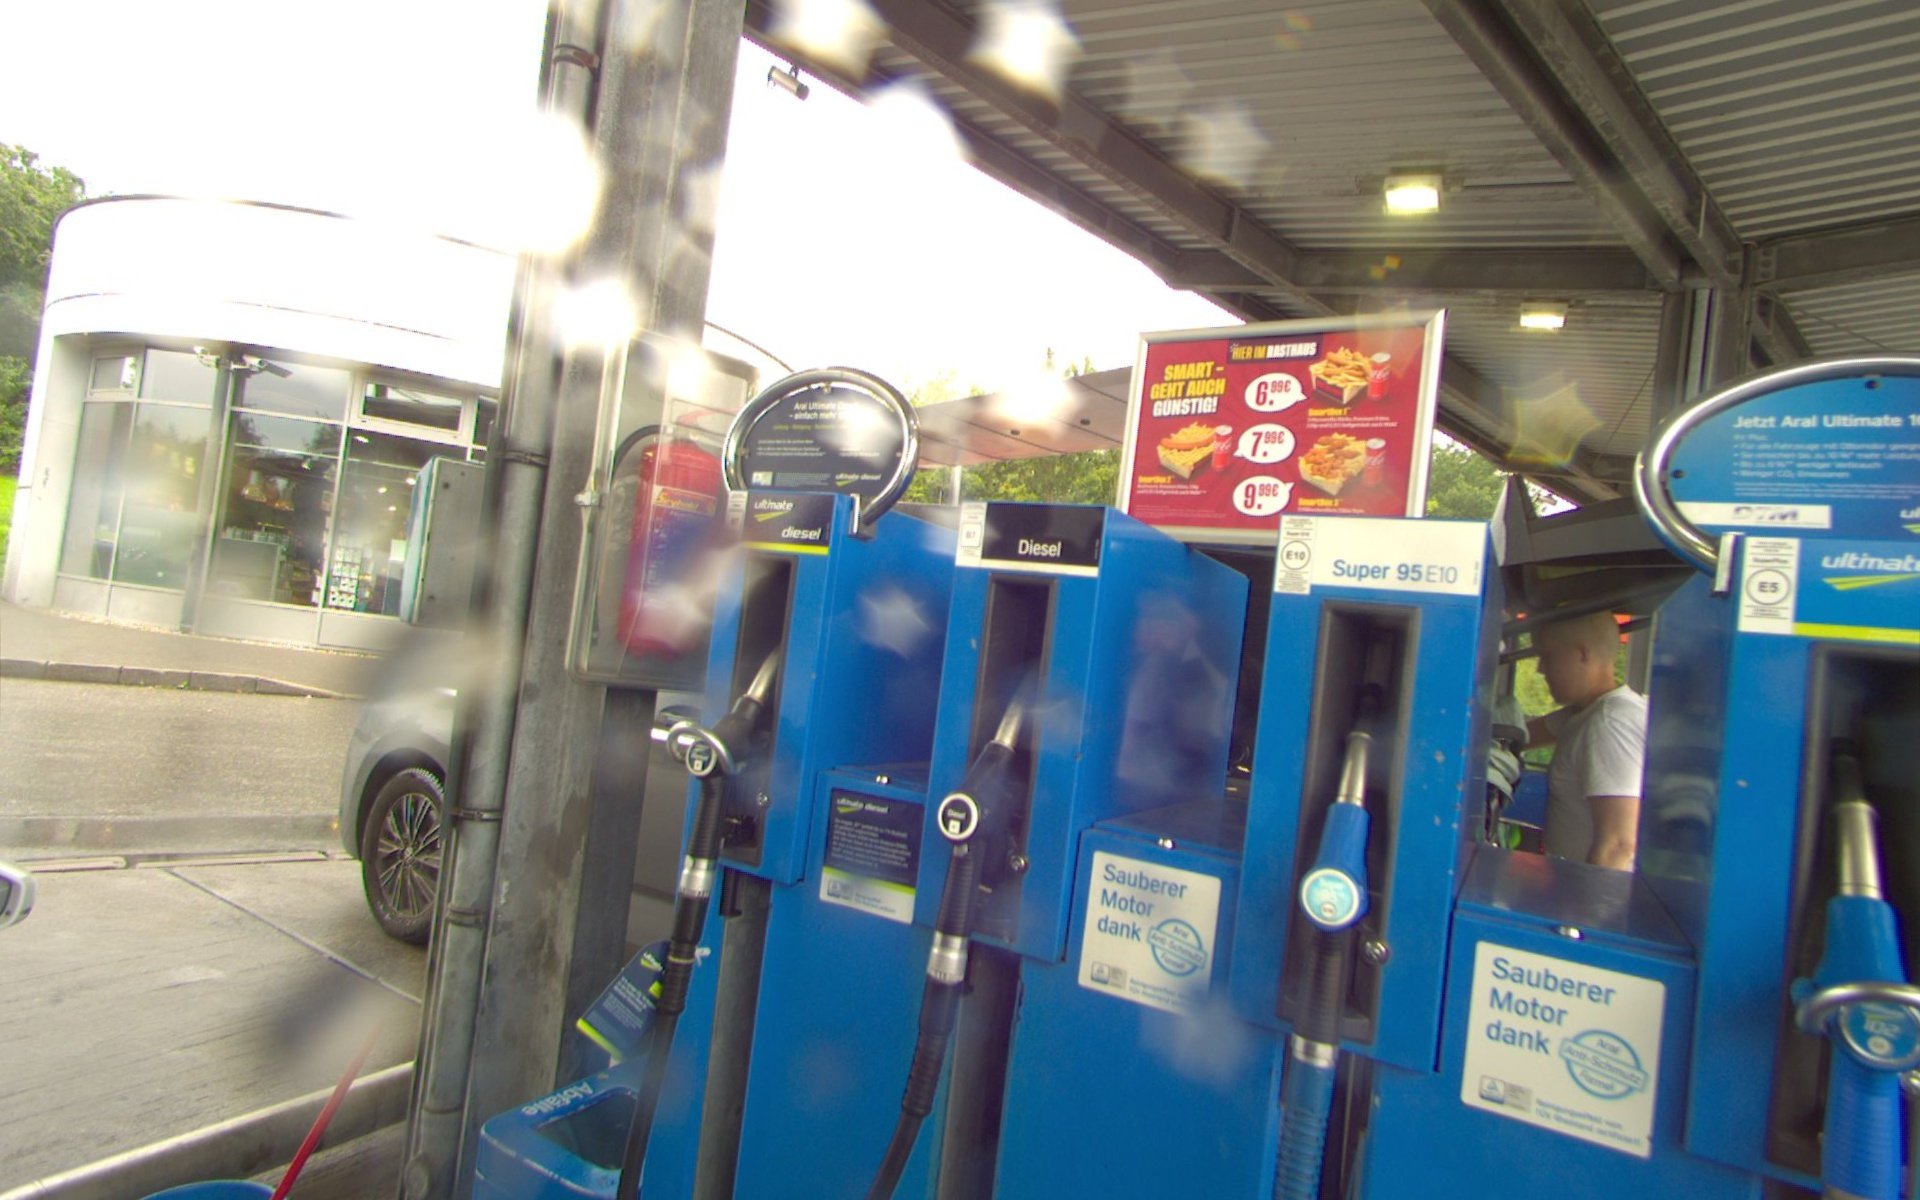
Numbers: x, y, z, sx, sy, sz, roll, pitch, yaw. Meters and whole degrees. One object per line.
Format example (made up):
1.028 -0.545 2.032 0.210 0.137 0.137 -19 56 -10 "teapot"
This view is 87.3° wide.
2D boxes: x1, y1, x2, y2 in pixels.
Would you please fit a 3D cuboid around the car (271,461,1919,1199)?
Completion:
-0.150 0.645 3.666 5.055 1.819 1.865 6 -2 32 "car"
